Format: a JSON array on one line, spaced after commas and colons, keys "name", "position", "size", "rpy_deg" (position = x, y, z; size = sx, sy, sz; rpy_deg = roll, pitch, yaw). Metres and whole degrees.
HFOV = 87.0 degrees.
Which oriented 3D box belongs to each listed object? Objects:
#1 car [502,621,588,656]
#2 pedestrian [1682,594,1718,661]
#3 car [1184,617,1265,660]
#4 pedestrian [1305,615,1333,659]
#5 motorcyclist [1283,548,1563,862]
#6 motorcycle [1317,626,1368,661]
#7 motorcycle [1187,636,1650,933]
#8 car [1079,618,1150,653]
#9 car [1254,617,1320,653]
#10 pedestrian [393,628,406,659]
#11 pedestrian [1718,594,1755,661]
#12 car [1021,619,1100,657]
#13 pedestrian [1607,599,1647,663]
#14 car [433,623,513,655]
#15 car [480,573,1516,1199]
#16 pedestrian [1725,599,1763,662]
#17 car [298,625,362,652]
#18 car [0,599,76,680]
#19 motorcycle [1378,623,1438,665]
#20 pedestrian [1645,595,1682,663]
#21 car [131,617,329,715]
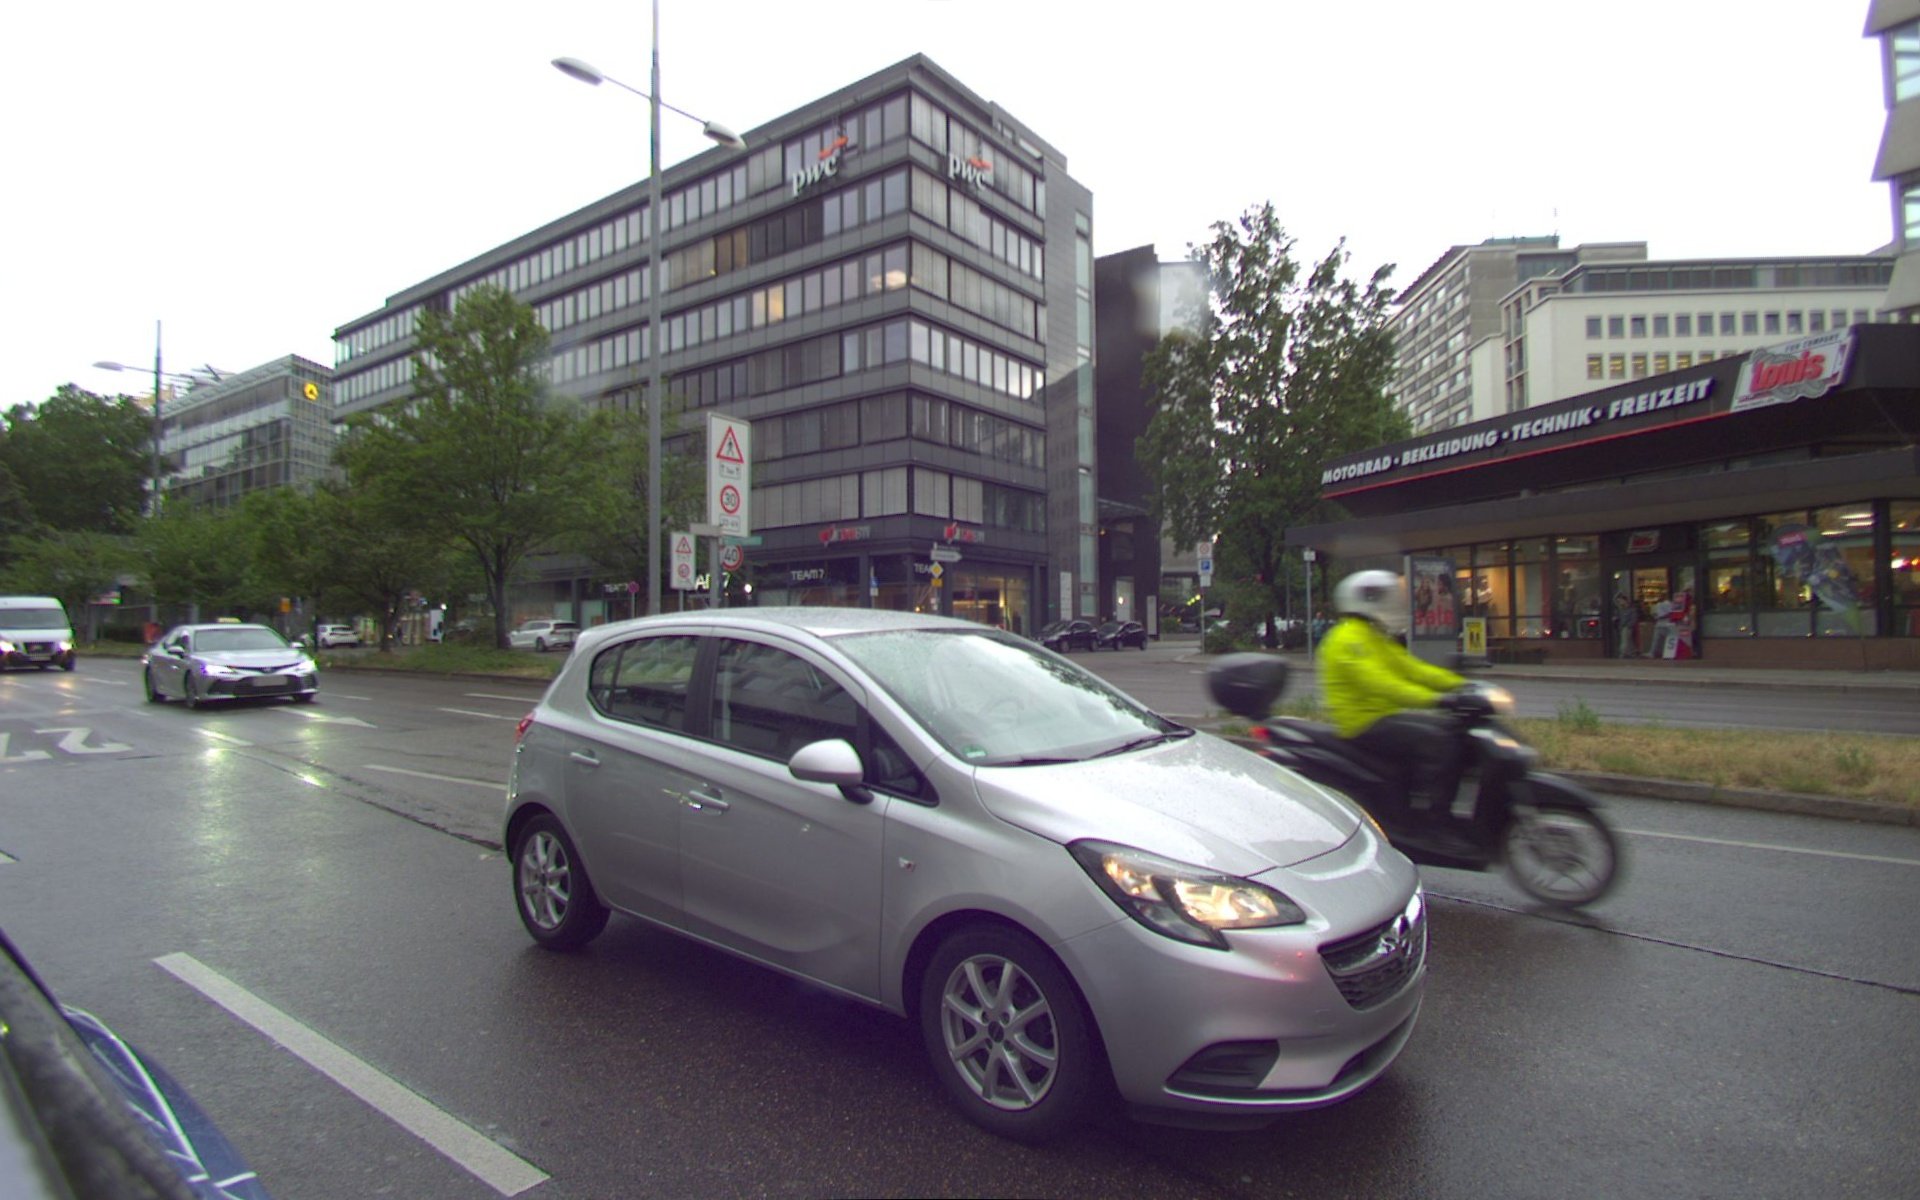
[{"name": "car", "position": [-19.406, 1.792, 47.265], "size": [3.992, 1.518, 1.975], "rpy_deg": [-2, -1, 36]}, {"name": "pedestrian", "position": [19.594, 0.728, 26.796], "size": [0.532, 1.757, 0.560], "rpy_deg": [0, -1, -29]}, {"name": "car", "position": [10.671, 1.511, 40.652], "size": [1.847, 1.596, 3.716], "rpy_deg": [-2, -1, 37]}, {"name": "pedestrian", "position": [13.861, 1.427, 39.057], "size": [0.688, 1.661, 0.735], "rpy_deg": [0, -1, -35]}, {"name": "motorcyclist", "position": [2.344, 0.468, 5.150], "size": [1.118, 1.390, 0.762], "rpy_deg": [-1, 0, 41]}, {"name": "motorcycle", "position": [12.967, 1.462, 34.293], "size": [1.600, 1.153, 0.360], "rpy_deg": [-1, -1, -8]}, {"name": "motorcycle", "position": [2.282, 0.808, 5.221], "size": [2.027, 1.193, 0.792], "rpy_deg": [-1, 0, 41]}, {"name": "car", "position": [7.578, 1.722, 49.481], "size": [1.847, 1.596, 3.716], "rpy_deg": [-2, -1, 37]}, {"name": "car", "position": [15.568, 1.633, 48.052], "size": [1.847, 1.596, 3.716], "rpy_deg": [-2, -1, 37]}, {"name": "pedestrian", "position": [-38.405, 2.976, 69.336], "size": [0.500, 2.029, 0.681], "rpy_deg": [-2, -1, 38]}, {"name": "pedestrian", "position": [20.622, 0.715, 26.884], "size": [0.532, 1.757, 0.560], "rpy_deg": [0, -1, -29]}, {"name": "car", "position": [4.543, 1.666, 45.485], "size": [1.847, 1.596, 3.716], "rpy_deg": [-2, -1, 37]}, {"name": "pedestrian", "position": [17.339, 0.793, 26.313], "size": [0.605, 1.623, 0.614], "rpy_deg": [0, -1, -29]}, {"name": "car", "position": [-24.595, 1.975, 51.115], "size": [4.100, 1.518, 1.975], "rpy_deg": [-2, -1, 36]}, {"name": "car", "position": [-0.171, 0.708, 3.975], "size": [3.872, 1.446, 1.631], "rpy_deg": [-2, -1, 40]}, {"name": "pedestrian", "position": [20.109, 0.786, 25.954], "size": [0.532, 1.582, 0.560], "rpy_deg": [0, -1, -29]}, {"name": "car", "position": [-37.940, 2.297, 60.927], "size": [3.992, 1.518, 1.975], "rpy_deg": [-2, -1, 36]}, {"name": "car", "position": [-30.820, 1.266, 33.206], "size": [5.475, 2.459, 1.927], "rpy_deg": [-2, -1, 40]}, {"name": "motorcycle", "position": [13.836, 1.350, 31.239], "size": [1.646, 1.242, 0.360], "rpy_deg": [-1, -1, 2]}, {"name": "pedestrian", "position": [18.482, 0.743, 26.595], "size": [0.605, 1.757, 0.560], "rpy_deg": [0, -1, -29]}, {"name": "car", "position": [-13.489, 1.141, 18.591], "size": [4.773, 1.545, 1.846], "rpy_deg": [-2, -1, 40]}]
